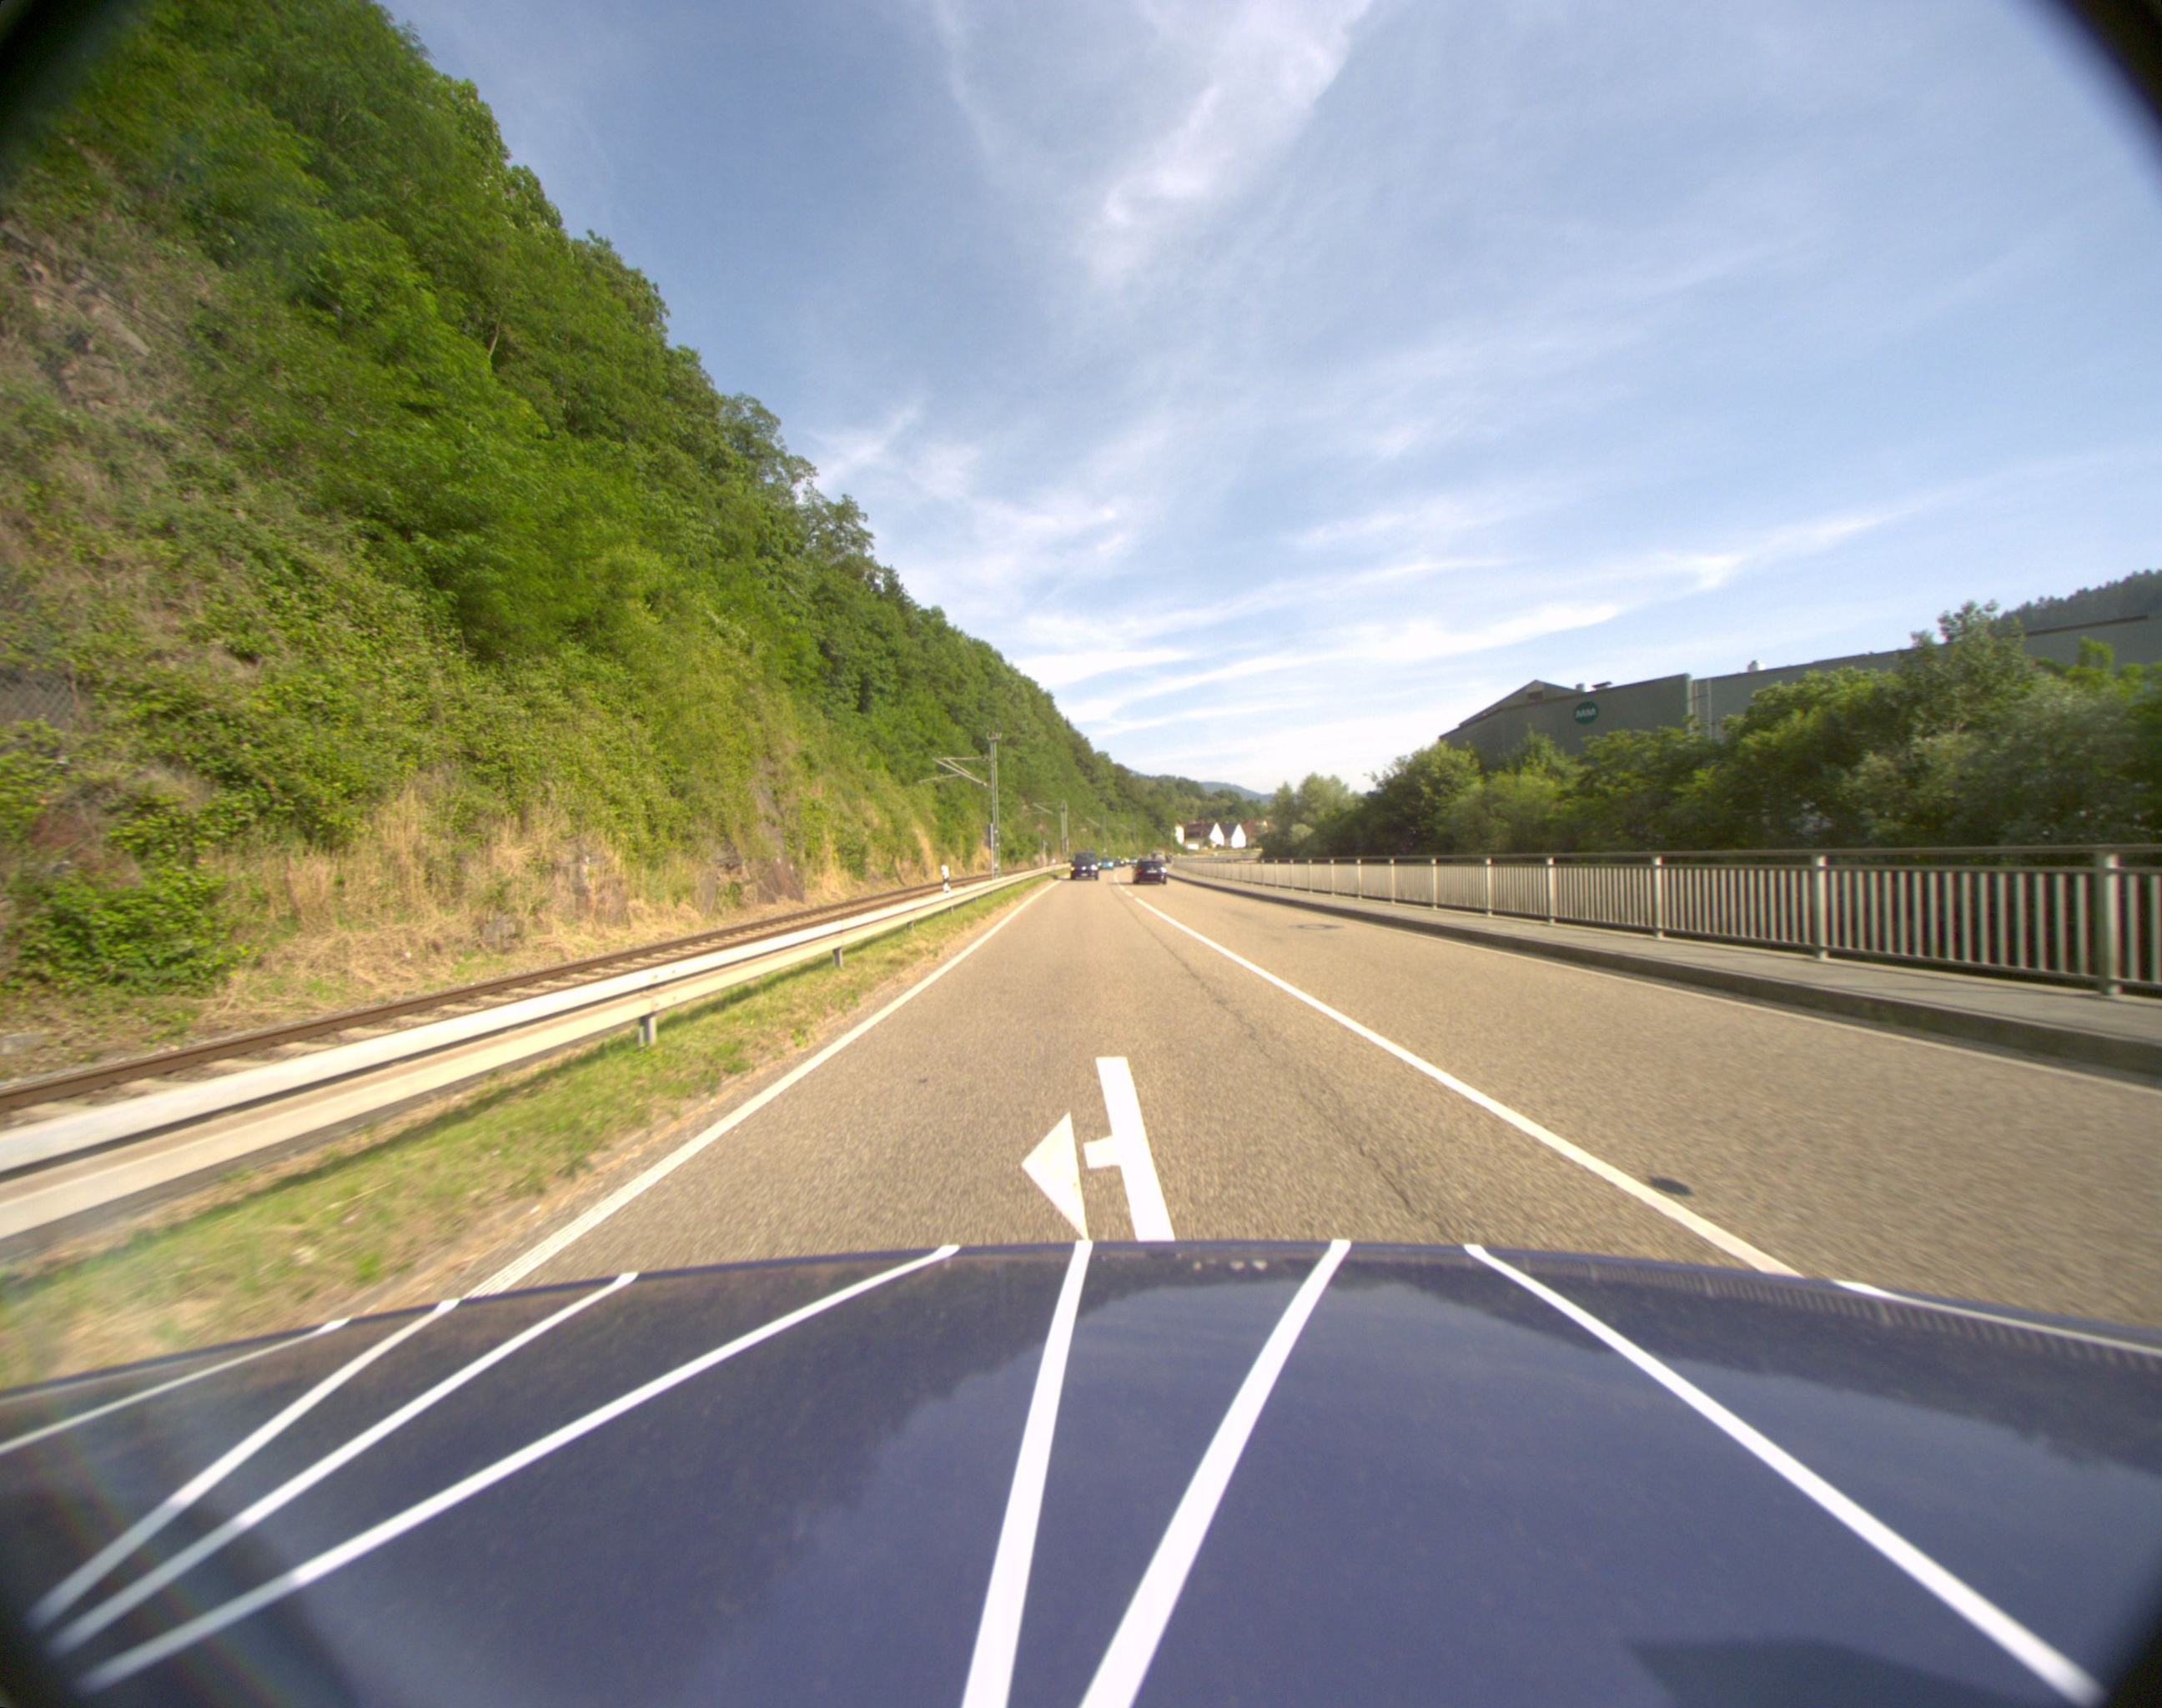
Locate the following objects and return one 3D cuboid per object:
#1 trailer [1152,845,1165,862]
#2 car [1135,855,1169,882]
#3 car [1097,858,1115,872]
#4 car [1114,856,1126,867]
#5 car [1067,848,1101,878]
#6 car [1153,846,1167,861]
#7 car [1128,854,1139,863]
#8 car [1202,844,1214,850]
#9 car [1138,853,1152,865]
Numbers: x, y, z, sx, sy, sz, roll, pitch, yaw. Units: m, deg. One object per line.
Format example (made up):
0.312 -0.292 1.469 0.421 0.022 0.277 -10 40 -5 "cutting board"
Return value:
12.783 -0.085 125.123 2.125 2.700 5.350 0 0 7 "trailer"
4.035 0.814 43.798 1.724 1.427 4.340 -1 0 3 "car"
2.924 1.249 87.334 1.749 1.424 3.333 1 0 7 "car"
5.774 1.080 111.134 1.652 1.424 3.332 1 0 4 "car"
0.224 0.639 52.512 1.908 1.867 4.350 -4 -1 4 "car"
13.611 -0.069 131.019 2.162 2.517 6.581 0 0 8 "car"
8.900 0.721 128.860 1.763 1.304 3.750 -3 0 6 "car"
35.527 -1.959 211.803 1.994 1.671 4.008 2 1 30 "car"
8.149 0.576 96.384 1.707 1.423 4.075 -1 1 5 "car"
